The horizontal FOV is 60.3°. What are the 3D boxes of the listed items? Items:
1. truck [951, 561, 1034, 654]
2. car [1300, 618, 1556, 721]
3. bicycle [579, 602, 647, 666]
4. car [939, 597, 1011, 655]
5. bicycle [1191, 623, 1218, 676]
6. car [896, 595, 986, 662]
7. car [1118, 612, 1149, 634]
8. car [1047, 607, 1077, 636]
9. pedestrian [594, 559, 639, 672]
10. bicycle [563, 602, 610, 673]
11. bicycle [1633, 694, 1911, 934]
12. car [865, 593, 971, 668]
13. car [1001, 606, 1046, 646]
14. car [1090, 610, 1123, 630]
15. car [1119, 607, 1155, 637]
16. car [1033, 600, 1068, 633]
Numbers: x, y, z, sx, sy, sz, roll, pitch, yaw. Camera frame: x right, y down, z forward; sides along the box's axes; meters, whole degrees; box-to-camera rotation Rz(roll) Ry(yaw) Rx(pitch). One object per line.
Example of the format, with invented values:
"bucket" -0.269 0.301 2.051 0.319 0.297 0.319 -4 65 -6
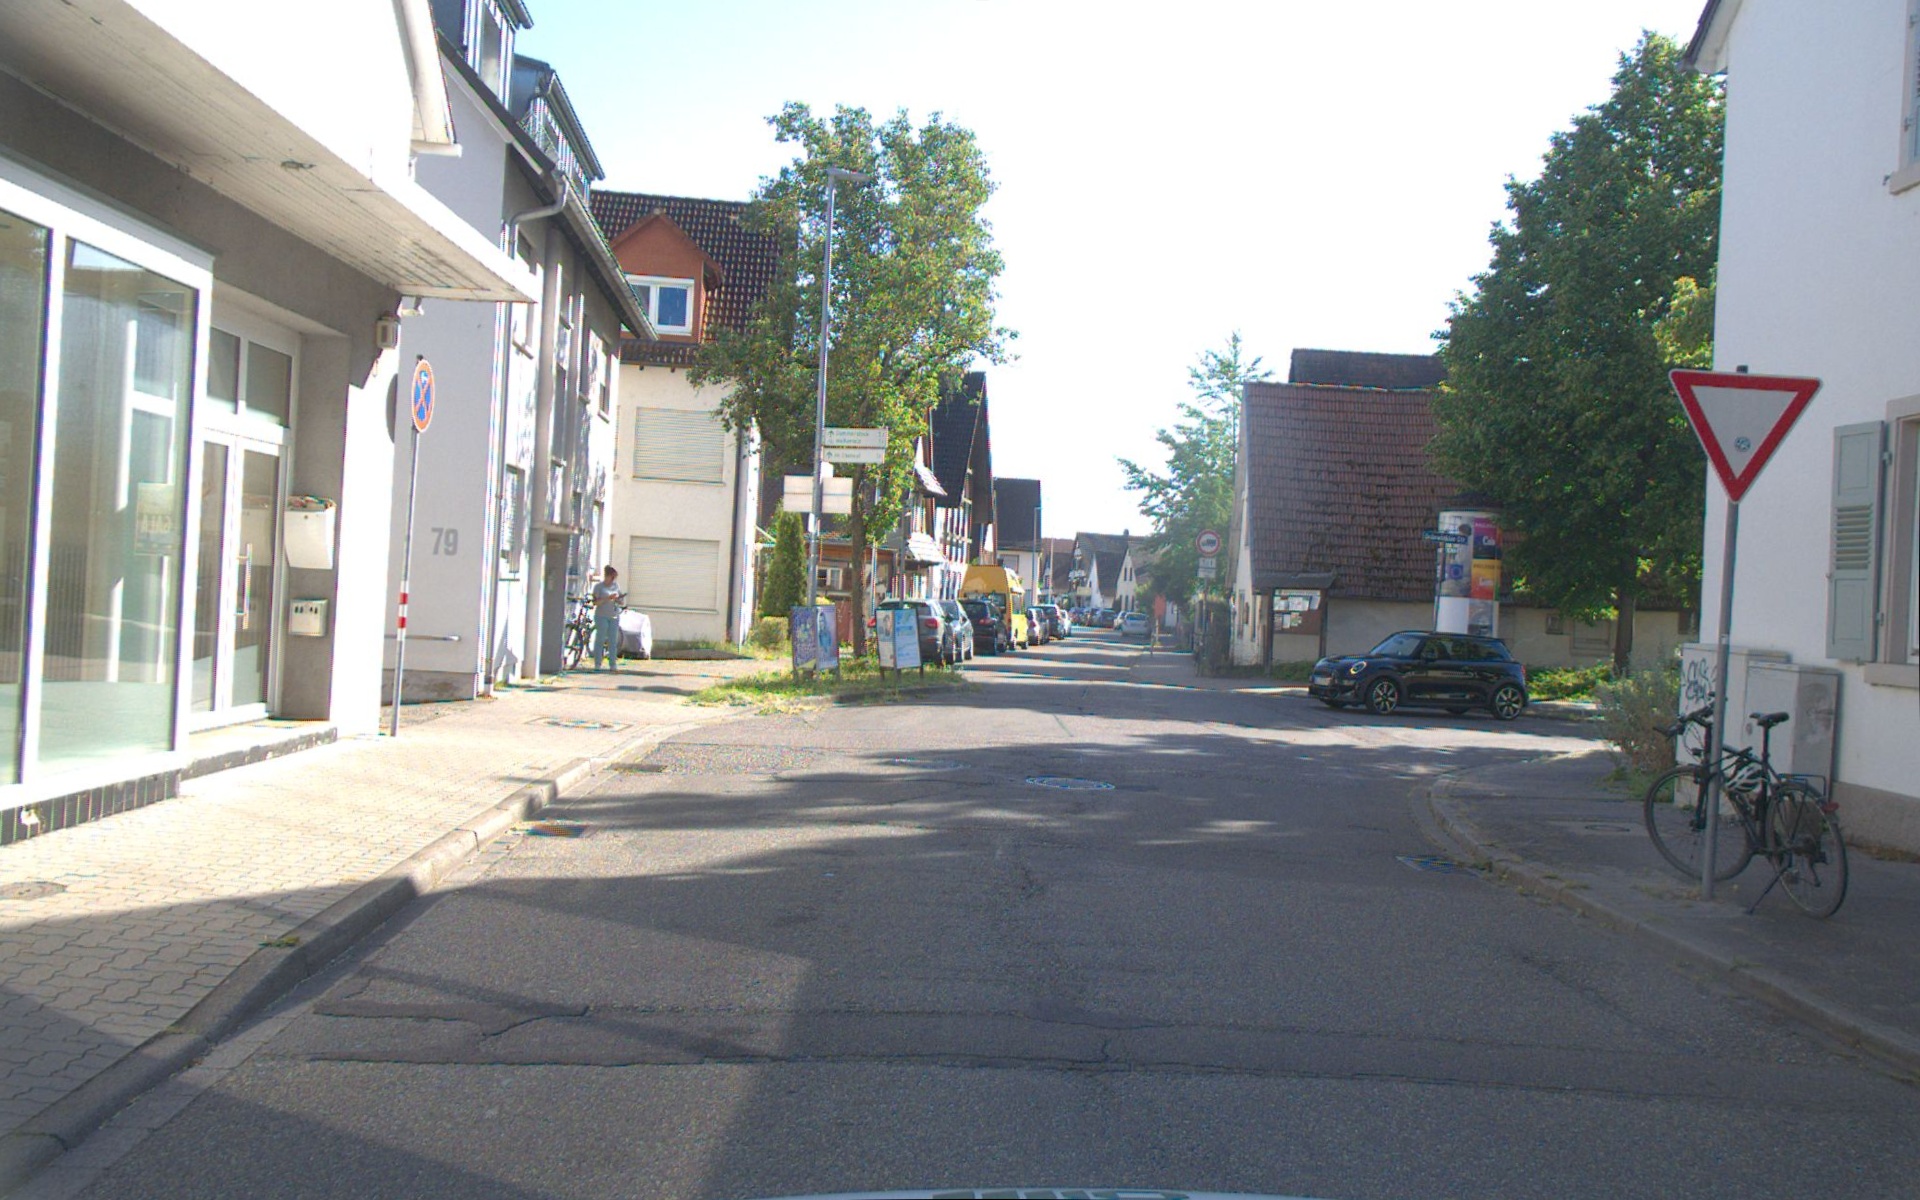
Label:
"truck" 1.193 0.276 56.735 2.220 2.918 5.786 3 -1 6
"car" 8.100 1.197 28.712 3.920 1.503 1.659 4 0 -15
"bicycle" -6.106 0.604 29.197 0.566 1.071 2.037 2 -1 4
"car" 0.509 0.801 51.259 1.768 1.650 3.883 3 -1 6
"bicycle" 5.815 1.164 39.364 0.424 1.197 1.830 3 0 13
"car" -0.437 0.732 42.369 1.768 1.532 4.110 3 -1 6
"car" 14.074 1.856 134.161 1.933 1.610 3.994 3 0 -1
"car" 5.592 1.154 90.800 1.555 1.468 3.616 3 0 3
"pedestrian" -5.387 0.252 25.978 0.473 1.722 0.557 3 -2 1
"bicycle" -5.814 0.582 25.794 0.415 1.071 1.380 3 -1 -2
"bicycle" 4.517 1.147 9.357 0.426 1.098 1.887 2 0 -7
"car" -0.894 0.695 37.997 1.828 1.532 4.110 3 -1 6
"car" 2.545 1.026 65.745 1.611 1.457 3.616 3 0 3
"car" 12.892 1.743 145.668 1.936 1.610 3.988 3 0 -8
"car" 11.018 1.367 102.941 1.932 1.743 3.996 3 0 3
"car" 4.343 0.773 78.935 1.555 1.468 3.616 3 0 3
